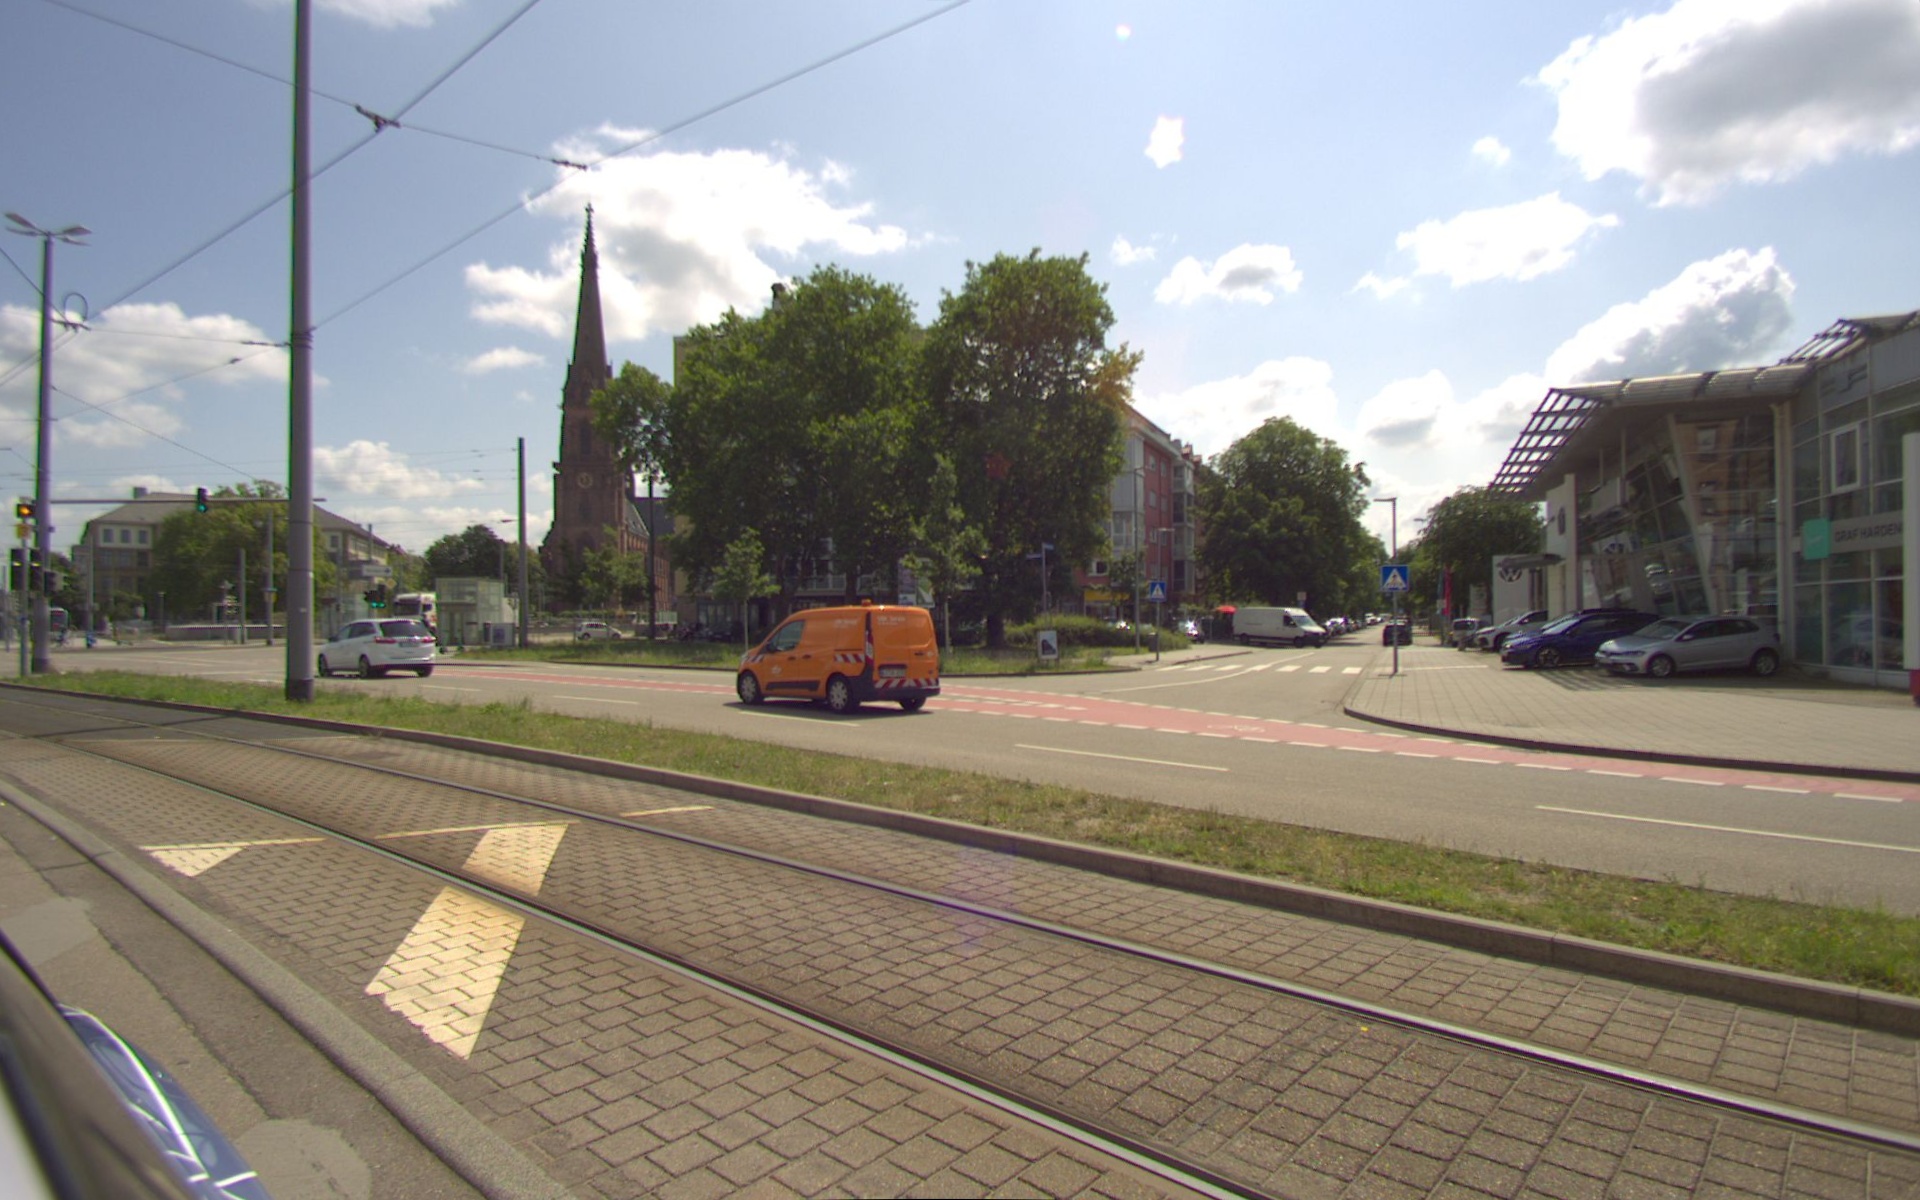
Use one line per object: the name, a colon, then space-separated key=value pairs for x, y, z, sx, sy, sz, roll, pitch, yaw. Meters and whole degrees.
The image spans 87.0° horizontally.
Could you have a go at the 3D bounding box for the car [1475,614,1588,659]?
car: x=23.506 y=1.494 z=41.765 sx=3.839 sy=1.788 sz=1.688 roll=-1 pitch=-1 yaw=23

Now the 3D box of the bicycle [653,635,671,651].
bicycle: x=-22.511 y=3.234 z=76.385 sx=1.256 sy=1.154 sz=0.459 roll=-1 pitch=-2 yaw=2

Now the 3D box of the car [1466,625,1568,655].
car: x=24.343 y=1.747 z=44.358 sx=3.608 sy=1.255 sz=1.549 roll=-1 pitch=-1 yaw=17

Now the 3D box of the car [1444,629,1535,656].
car: x=25.720 y=2.076 z=49.219 sx=3.603 sy=1.255 sz=1.551 roll=-1 pitch=-1 yaw=14

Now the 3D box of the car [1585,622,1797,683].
car: x=18.159 y=1.283 z=25.279 sx=3.892 sy=1.458 sz=1.835 roll=-1 pitch=-1 yaw=0

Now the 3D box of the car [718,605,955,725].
car: x=-2.295 y=1.101 z=18.025 sx=4.369 sy=1.880 sz=1.889 roll=-2 pitch=-3 yaw=44

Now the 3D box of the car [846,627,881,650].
car: x=-6.709 y=2.676 z=70.621 sx=1.855 sy=1.522 sz=3.927 roll=-1 pitch=-2 yaw=3

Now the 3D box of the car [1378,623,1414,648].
car: x=30.570 y=2.477 z=70.862 sx=1.990 sy=1.697 sz=3.963 roll=-3 pitch=-3 yaw=27

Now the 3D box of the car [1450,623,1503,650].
car: x=32.627 y=2.254 z=63.894 sx=2.000 sy=1.630 sz=3.944 roll=-2 pitch=-2 yaw=42

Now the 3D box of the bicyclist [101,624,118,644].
bicyclist: x=-86.537 y=3.429 z=102.983 sx=1.109 sy=2.029 sz=1.320 roll=3 pitch=-3 yaw=-45

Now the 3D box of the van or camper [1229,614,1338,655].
van or camper: x=21.070 y=2.222 z=66.289 sx=2.536 sy=2.518 sz=6.701 roll=0 pitch=-2 yaw=-32

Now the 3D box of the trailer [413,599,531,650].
trailer: x=-42.318 y=2.139 z=88.483 sx=2.912 sy=4.107 sz=13.398 roll=-1 pitch=-1 yaw=5

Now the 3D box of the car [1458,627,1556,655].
car: x=25.057 y=1.881 z=46.459 sx=3.603 sy=1.255 sz=1.551 roll=-1 pitch=-1 yaw=14

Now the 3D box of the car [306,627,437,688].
car: x=-16.991 y=1.612 z=29.142 sx=4.488 sy=1.616 sz=1.749 roll=-2 pitch=-3 yaw=39

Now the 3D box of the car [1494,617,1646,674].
car: x=18.737 y=1.376 z=31.166 sx=3.585 sy=1.685 sz=1.778 roll=0 pitch=-1 yaw=-4

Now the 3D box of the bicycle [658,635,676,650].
bicycle: x=-22.474 y=3.276 z=77.710 sx=1.256 sy=1.154 sz=0.459 roll=-1 pitch=-2 yaw=2

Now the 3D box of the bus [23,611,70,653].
bus: x=-78.912 y=2.740 z=87.393 sx=2.907 sy=3.474 sz=7.955 roll=1 pitch=-2 yaw=-43

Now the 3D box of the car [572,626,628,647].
car: x=-29.564 y=3.004 z=83.156 sx=4.104 sy=1.655 sz=1.633 roll=0 pitch=-2 yaw=-36

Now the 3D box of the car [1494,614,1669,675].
car: x=17.340 y=1.244 z=28.421 sx=3.750 sy=1.485 sz=1.653 roll=-3 pitch=-2 yaw=13

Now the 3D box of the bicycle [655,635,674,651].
bicycle: x=-22.480 y=3.255 z=76.962 sx=1.256 sy=1.154 sz=0.459 roll=-1 pitch=-2 yaw=2

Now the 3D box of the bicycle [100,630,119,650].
bicycle: x=-86.522 y=4.071 z=102.964 sx=1.230 sy=2.029 sz=3.486 roll=1 pitch=-2 yaw=-45

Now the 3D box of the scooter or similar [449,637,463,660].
scooter or similar: x=-24.615 y=2.360 z=49.456 sx=0.555 sy=1.133 sz=0.411 roll=-2 pitch=-2 yaw=35

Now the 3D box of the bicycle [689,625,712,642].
bicycle: x=-18.597 y=2.396 z=72.516 sx=1.582 sy=1.176 sz=0.492 roll=-1 pitch=-1 yaw=6

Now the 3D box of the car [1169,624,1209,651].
car: x=15.532 y=2.532 z=68.747 sx=1.974 sy=1.719 sz=3.995 roll=0 pitch=-2 yaw=4

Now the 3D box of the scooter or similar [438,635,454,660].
scooter or similar: x=-24.822 y=2.286 z=48.861 sx=0.548 sy=1.209 sz=0.457 roll=-2 pitch=-2 yaw=35

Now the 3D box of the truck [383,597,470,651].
truck: x=-42.897 y=1.965 z=81.645 sx=2.927 sy=4.150 sz=6.867 roll=-1 pitch=-1 yaw=5

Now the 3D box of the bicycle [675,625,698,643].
bicycle: x=-20.586 y=2.558 z=76.094 sx=1.582 sy=1.274 sz=0.492 roll=-1 pitch=-1 yaw=6

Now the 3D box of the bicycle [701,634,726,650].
bicycle: x=-16.835 y=2.844 z=69.179 sx=1.582 sy=1.074 sz=0.492 roll=-1 pitch=-1 yaw=6

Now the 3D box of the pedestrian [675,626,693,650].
pedestrian: x=-18.288 y=2.509 z=67.102 sx=0.871 sy=1.572 sz=0.721 roll=-1 pitch=-2 yaw=13
